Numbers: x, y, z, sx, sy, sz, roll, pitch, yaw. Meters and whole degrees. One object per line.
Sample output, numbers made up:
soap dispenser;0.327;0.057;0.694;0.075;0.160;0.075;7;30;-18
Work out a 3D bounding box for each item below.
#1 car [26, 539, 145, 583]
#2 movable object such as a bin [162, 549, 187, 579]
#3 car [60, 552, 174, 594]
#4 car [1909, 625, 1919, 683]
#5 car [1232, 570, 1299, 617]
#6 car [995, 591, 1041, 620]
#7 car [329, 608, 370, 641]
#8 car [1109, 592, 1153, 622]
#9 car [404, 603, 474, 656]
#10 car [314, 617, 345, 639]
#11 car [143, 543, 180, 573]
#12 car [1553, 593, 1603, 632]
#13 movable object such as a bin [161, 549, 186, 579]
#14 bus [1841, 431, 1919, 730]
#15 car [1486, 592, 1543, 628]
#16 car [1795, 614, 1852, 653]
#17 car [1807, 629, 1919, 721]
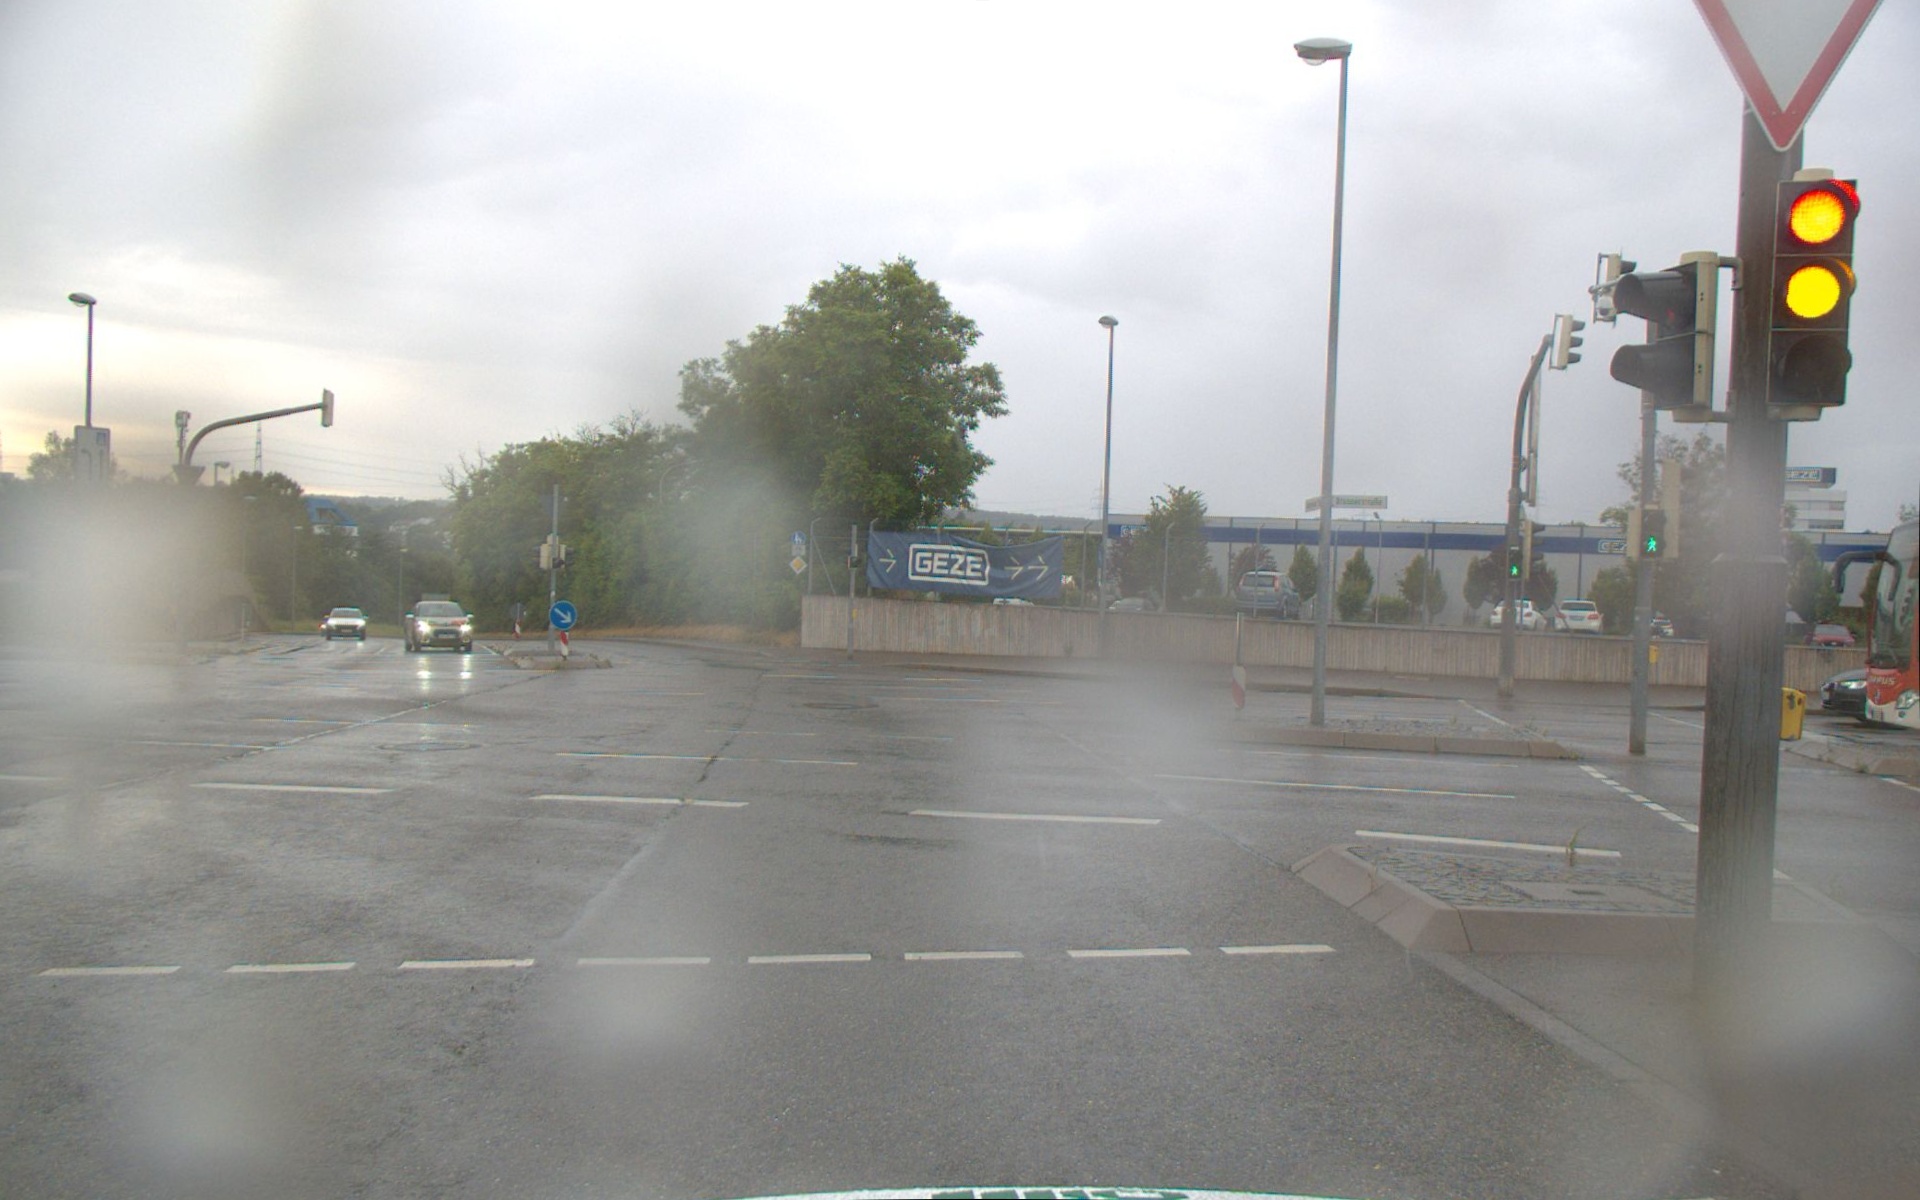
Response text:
car;-35.836;-1.601;67.822;3.902;1.614;1.903;1;-2;8
movable object such as a bin;-40.948;-1.882;86.182;1.071;1.462;1.434;3;-2;-27
car;-35.871;-1.142;70.419;3.902;1.614;1.903;1;-2;12
car;34.935;1.946;58.526;1.707;2.049;3.824;1;0;20
car;10.661;-0.206;57.593;1.707;1.580;3.531;1;0;20
car;3.367;0.319;95.940;1.632;1.634;3.531;1;0;20
car;-29.971;1.190;81.220;1.693;1.521;3.979;1;-1;-18
car;9.603;0.411;92.732;1.632;1.634;3.531;1;0;20
car;-15.867;0.884;50.265;1.639;1.521;3.971;1;-1;-23
car;-46.269;2.036;121.388;1.868;1.481;3.980;1;0;-18
car;-46.115;-2.387;95.501;1.806;1.467;3.964;3;-2;-27
car;25.464;0.511;68.094;1.820;1.552;4.103;1;0;22
movable object such as a bin;-41.614;-1.888;87.489;1.071;1.462;1.434;3;-2;-27
bus;17.680;0.081;19.884;11.995;3.638;2.988;3;0;17
car;23.048;0.426;68.689;1.781;1.459;4.100;1;0;25
car;38.519;1.464;73.864;1.883;1.616;3.788;1;0;22
car;16.243;1.233;26.670;4.286;1.378;1.827;2;0;16
